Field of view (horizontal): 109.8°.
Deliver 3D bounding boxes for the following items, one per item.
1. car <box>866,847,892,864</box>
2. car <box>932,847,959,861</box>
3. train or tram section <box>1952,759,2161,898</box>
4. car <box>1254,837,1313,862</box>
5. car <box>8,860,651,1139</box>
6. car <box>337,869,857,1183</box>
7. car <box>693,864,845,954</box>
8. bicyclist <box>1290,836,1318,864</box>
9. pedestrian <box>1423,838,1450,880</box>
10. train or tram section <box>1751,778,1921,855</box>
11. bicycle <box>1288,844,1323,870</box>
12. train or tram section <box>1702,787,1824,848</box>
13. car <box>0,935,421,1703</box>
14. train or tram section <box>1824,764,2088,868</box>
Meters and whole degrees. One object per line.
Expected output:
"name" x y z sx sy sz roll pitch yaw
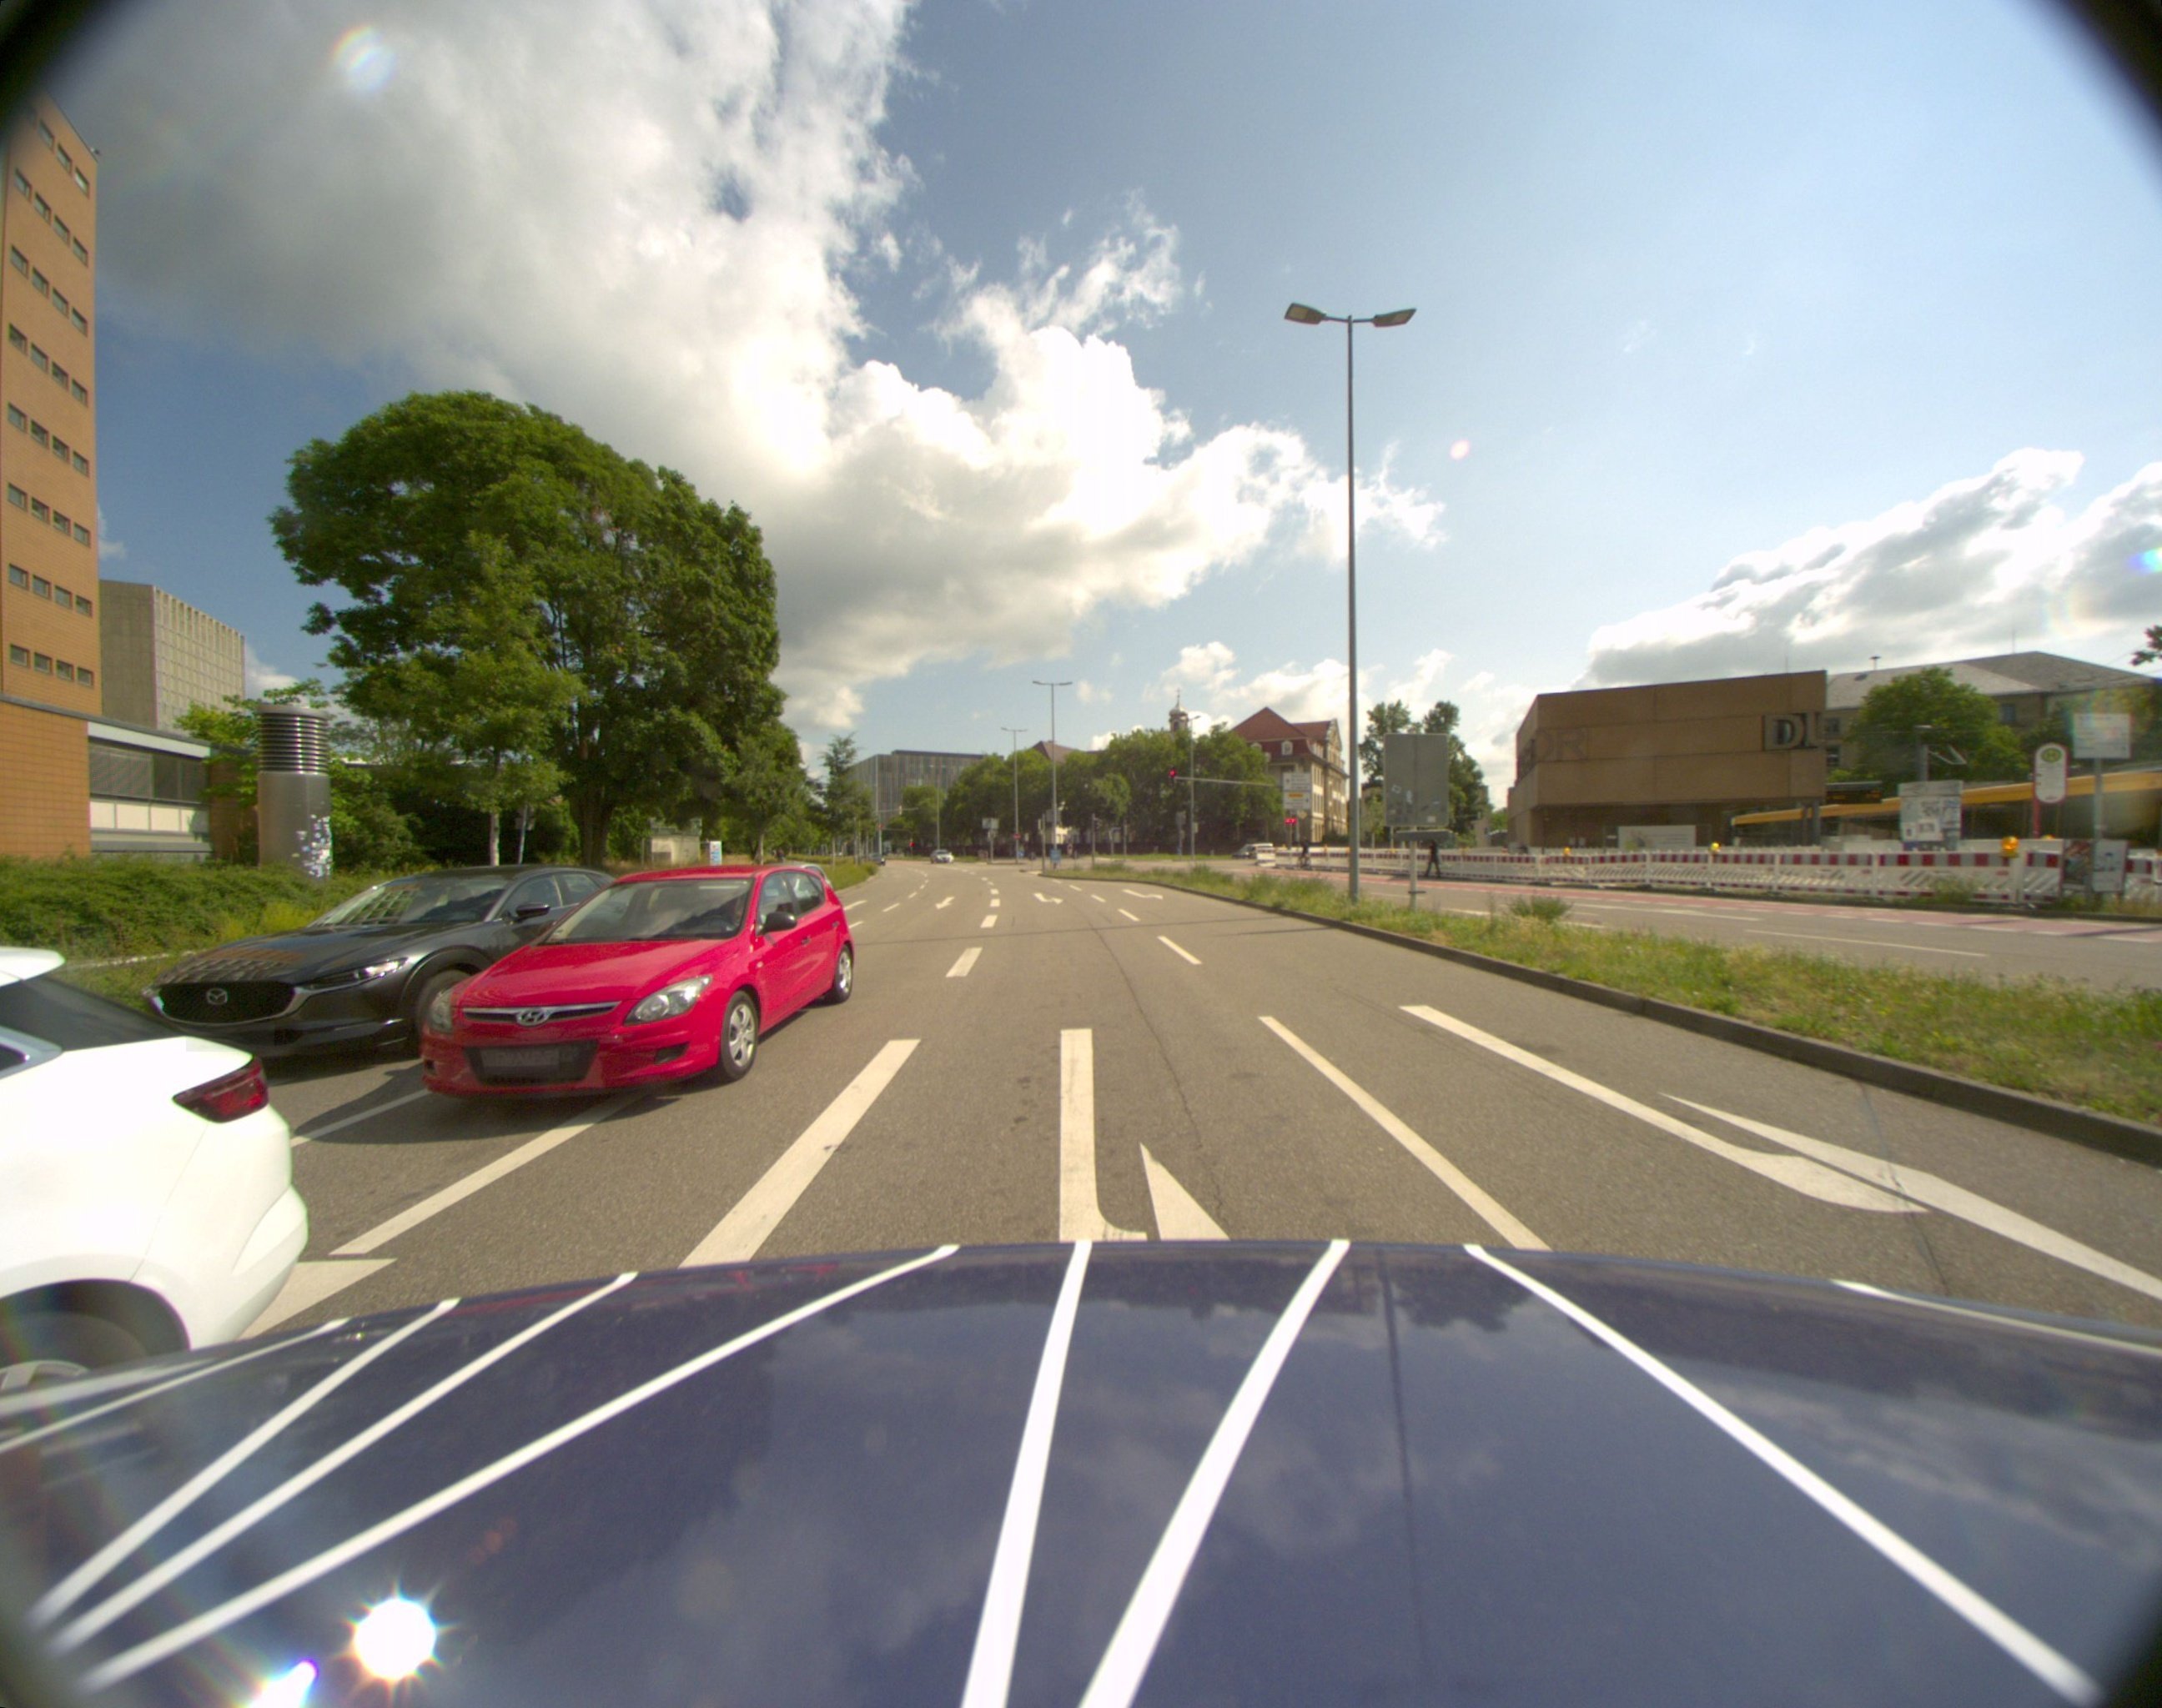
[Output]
"car" -21.647 0.126 81.276 2.002 1.745 3.991 -3 2 -25
"car" -14.978 -0.028 83.950 1.834 1.517 3.991 -1 1 -26
"train or tram section" 30.088 -0.834 21.576 3.316 3.461 10.624 -2 2 27
"car" 14.712 -0.304 55.173 3.991 1.772 2.003 0 1 19
"car" -5.910 0.933 6.902 1.646 1.567 4.210 -2 1 -2
"car" -3.201 0.969 6.145 1.646 1.459 4.063 -2 1 -2
"car" -6.139 0.997 15.464 1.588 1.377 4.076 -2 1 -4
"bicyclist" 12.707 -0.239 43.329 0.778 1.554 1.774 -1 1 -11
"pedestrian" 15.205 0.204 32.493 0.653 1.754 1.001 -1 1 -2
"train or tram section" 39.619 -1.918 40.478 3.316 3.461 10.624 -2 2 27
"bicycle" 12.785 0.150 43.362 0.973 1.403 2.291 -1 1 -11
"train or tram section" 44.437 -2.353 49.979 3.316 3.461 10.624 -2 2 27
"car" -3.082 1.067 0.136 1.762 1.421 4.673 -2 2 0
"train or tram section" 34.868 -1.490 31.106 3.316 3.461 10.624 -2 2 27
